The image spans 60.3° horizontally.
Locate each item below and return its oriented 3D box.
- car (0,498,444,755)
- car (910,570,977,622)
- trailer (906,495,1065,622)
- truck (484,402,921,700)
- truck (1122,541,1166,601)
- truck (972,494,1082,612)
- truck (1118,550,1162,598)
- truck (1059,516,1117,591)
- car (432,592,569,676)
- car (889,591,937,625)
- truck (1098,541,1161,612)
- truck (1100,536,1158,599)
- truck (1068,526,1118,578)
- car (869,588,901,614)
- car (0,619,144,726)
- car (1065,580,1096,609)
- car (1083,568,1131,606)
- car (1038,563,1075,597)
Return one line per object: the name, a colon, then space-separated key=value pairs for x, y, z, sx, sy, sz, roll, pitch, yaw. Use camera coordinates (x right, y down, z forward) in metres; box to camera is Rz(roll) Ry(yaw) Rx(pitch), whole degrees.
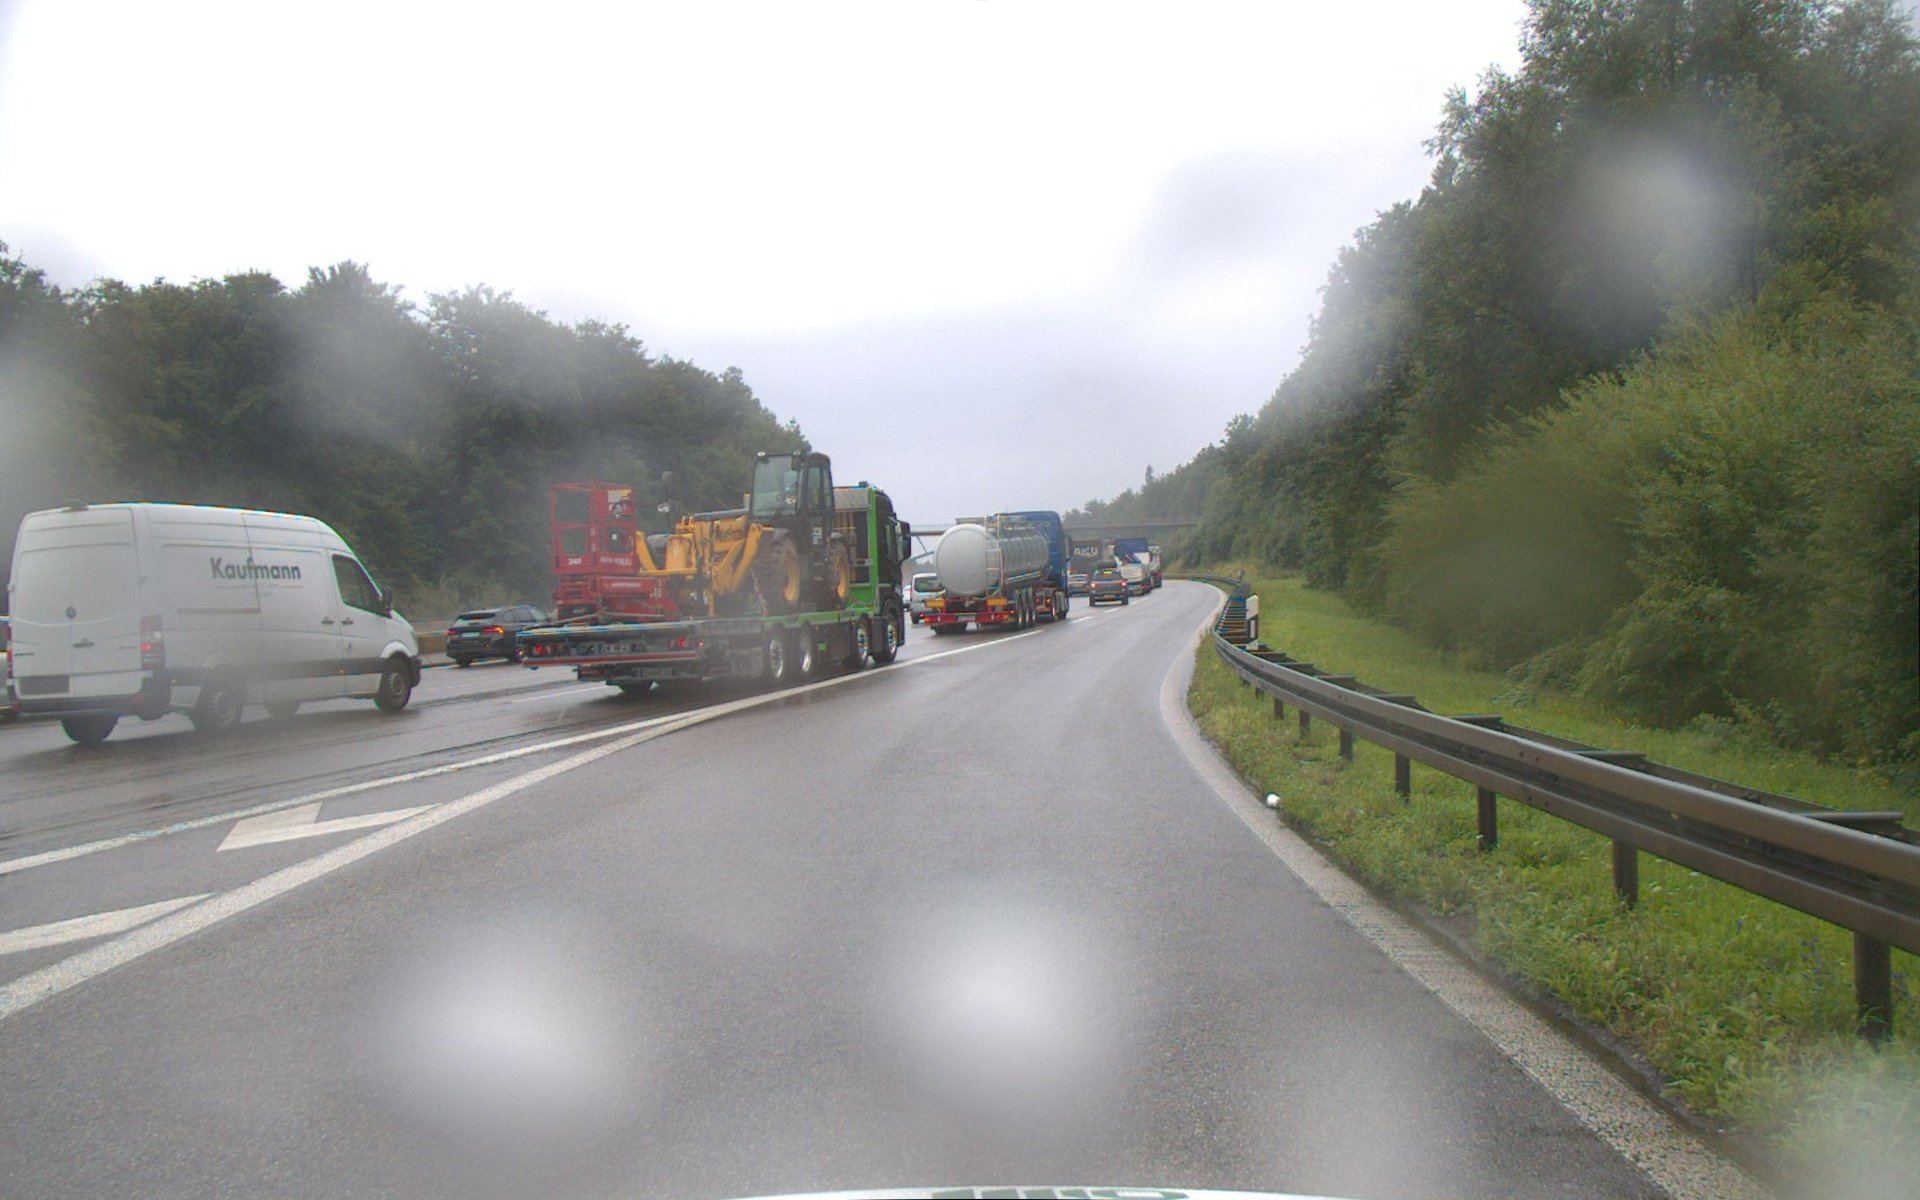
car: x=-8.974 y=0.275 z=20.594 sx=2.168 sy=2.675 sz=5.849 roll=-2 pitch=0 yaw=13
car: x=-0.577 y=-0.169 z=61.577 sx=1.780 sy=1.797 sz=4.004 roll=-2 pitch=0 yaw=10
trailer: x=1.000 y=-1.241 z=50.337 sx=2.812 sy=3.346 sz=10.088 roll=-2 pitch=1 yaw=12
truck: x=-3.463 y=-0.691 z=26.893 sx=2.771 sy=3.651 sz=11.808 roll=-3 pitch=0 yaw=12
truck: x=18.888 y=-2.902 z=169.480 sx=4.244 sy=5.864 sz=9.737 roll=1 pitch=0 yaw=7
truck: x=2.374 y=-1.598 z=56.918 sx=2.815 sy=3.757 sz=5.061 roll=-2 pitch=1 yaw=12
truck: x=16.145 y=-2.257 z=148.348 sx=3.675 sy=4.040 sz=11.066 roll=1 pitch=0 yaw=6
truck: x=10.344 y=-3.643 z=132.736 sx=3.674 sy=5.595 sz=10.181 roll=1 pitch=0 yaw=9
car: x=-11.911 y=0.859 z=43.137 sx=1.759 sy=2.049 sz=4.003 roll=1 pitch=0 yaw=12
car: x=-2.675 y=0.447 z=94.831 sx=1.951 sy=1.803 sz=4.138 roll=-2 pitch=0 yaw=9
truck: x=11.059 y=-1.523 z=106.926 sx=3.523 sy=4.176 sz=11.570 roll=-3 pitch=1 yaw=8
truck: x=12.675 y=-2.299 z=123.138 sx=3.432 sy=4.342 sz=10.612 roll=1 pitch=0 yaw=10
truck: x=12.174 y=-4.281 z=150.562 sx=3.500 sy=4.167 sz=10.888 roll=-2 pitch=-1 yaw=9
car: x=-6.253 y=0.082 z=138.081 sx=1.951 sy=2.049 sz=4.003 roll=-2 pitch=0 yaw=8
car: x=-15.237 y=1.150 z=25.943 sx=1.826 sy=1.549 sz=4.634 roll=-2 pitch=0 yaw=12
car: x=8.227 y=-0.341 z=112.803 sx=1.759 sy=1.937 sz=4.003 roll=1 pitch=0 yaw=8
car: x=6.955 y=-0.595 z=78.044 sx=1.951 sy=1.665 sz=4.003 roll=1 pitch=0 yaw=9
car: x=9.127 y=-1.855 z=155.919 sx=3.029 sy=3.055 sz=6.778 roll=1 pitch=0 yaw=7
